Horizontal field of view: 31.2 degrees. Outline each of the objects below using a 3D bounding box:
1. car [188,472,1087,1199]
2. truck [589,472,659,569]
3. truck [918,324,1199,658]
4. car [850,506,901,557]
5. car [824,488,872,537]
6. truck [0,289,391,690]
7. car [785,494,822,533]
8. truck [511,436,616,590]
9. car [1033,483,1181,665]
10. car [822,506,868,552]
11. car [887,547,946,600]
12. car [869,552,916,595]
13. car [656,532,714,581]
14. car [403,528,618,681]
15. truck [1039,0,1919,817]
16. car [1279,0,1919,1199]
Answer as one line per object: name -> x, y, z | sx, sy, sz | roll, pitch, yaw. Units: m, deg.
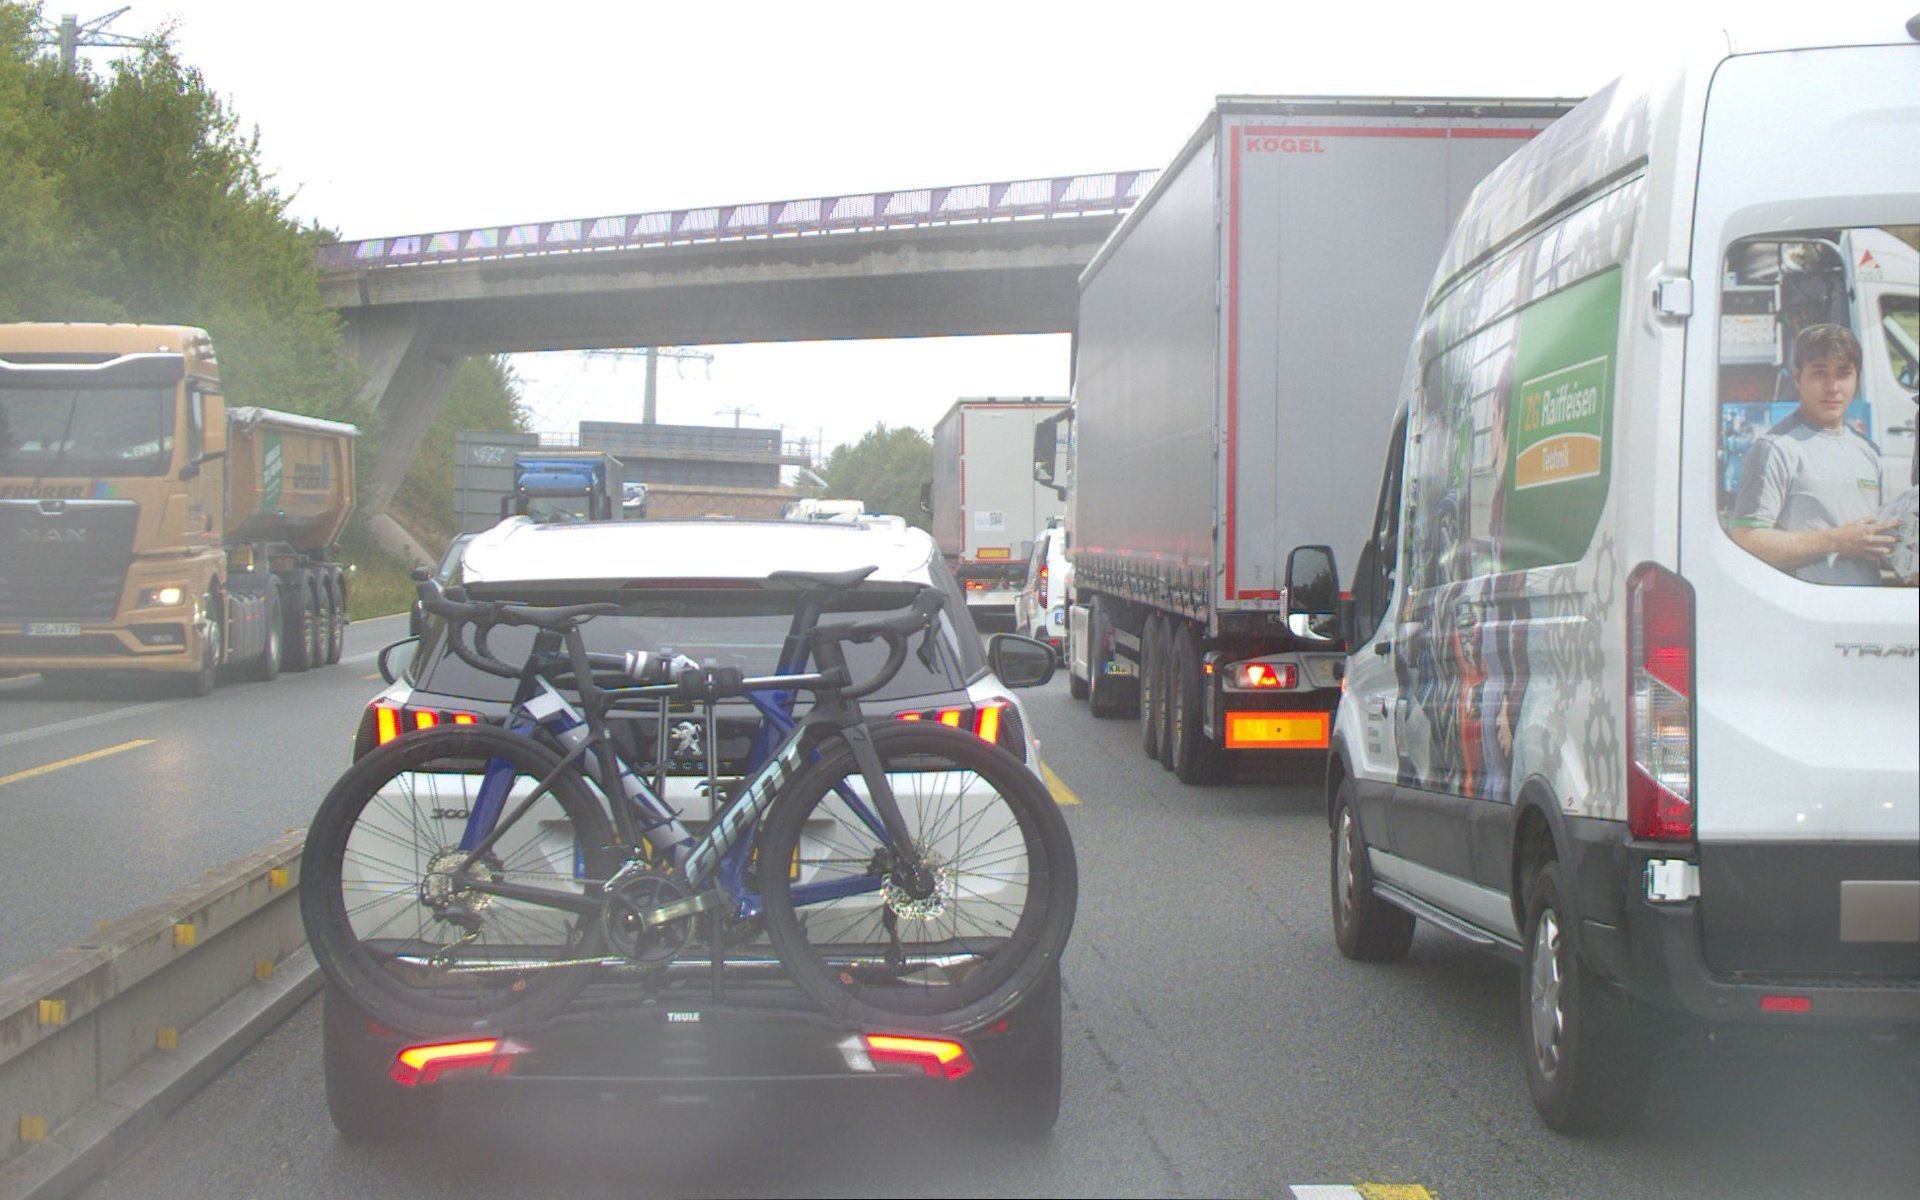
car -> -0.651, 0.541, 9.288 | 1.810, 1.632, 4.635 | 1, 1, 0
truck -> -14.705, -3.435, 151.036 | 2.464, 4.109, 10.089 | 1, 1, -2
truck -> 1.699, -1.968, 68.850 | 4.743, 5.654, 20.376 | 1, 1, 0
car -> -3.406, -2.749, 138.144 | 1.993, 2.007, 4.000 | 1, 1, -2
car -> -5.465, -4.252, 167.876 | 2.239, 2.299, 4.572 | 1, 1, -1
truck -> -8.484, -1.074, 37.488 | 2.681, 3.644, 12.312 | 1, 1, -1
car -> -8.864, -4.888, 195.060 | 1.993, 2.119, 4.527 | 1, 1, -1
truck -> -11.624, -2.422, 100.853 | 2.765, 4.109, 16.931 | 1, 1, -7
car -> 1.818, -0.339, 43.714 | 1.670, 2.173, 4.535 | 1, 1, 0
car -> -5.167, -3.182, 155.269 | 1.993, 2.007, 4.000 | 1, 1, -1
car -> -1.254, -0.774, 98.857 | 1.638, 1.492, 3.666 | 1, 1, -1
car -> -2.417, -0.961, 123.435 | 1.638, 1.492, 3.666 | 1, 1, -1
car -> -9.371, -1.484, 117.180 | 1.783, 1.604, 4.104 | 1, 1, -2
car -> -4.973, 0.026, 38.528 | 1.935, 1.602, 4.120 | 1, 1, -1
truck -> 3.068, -1.790, 28.495 | 3.979, 5.654, 20.377 | 1, 1, -1
car -> 2.417, -0.036, 10.447 | 2.144, 2.667, 6.118 | 1, 1, -2
